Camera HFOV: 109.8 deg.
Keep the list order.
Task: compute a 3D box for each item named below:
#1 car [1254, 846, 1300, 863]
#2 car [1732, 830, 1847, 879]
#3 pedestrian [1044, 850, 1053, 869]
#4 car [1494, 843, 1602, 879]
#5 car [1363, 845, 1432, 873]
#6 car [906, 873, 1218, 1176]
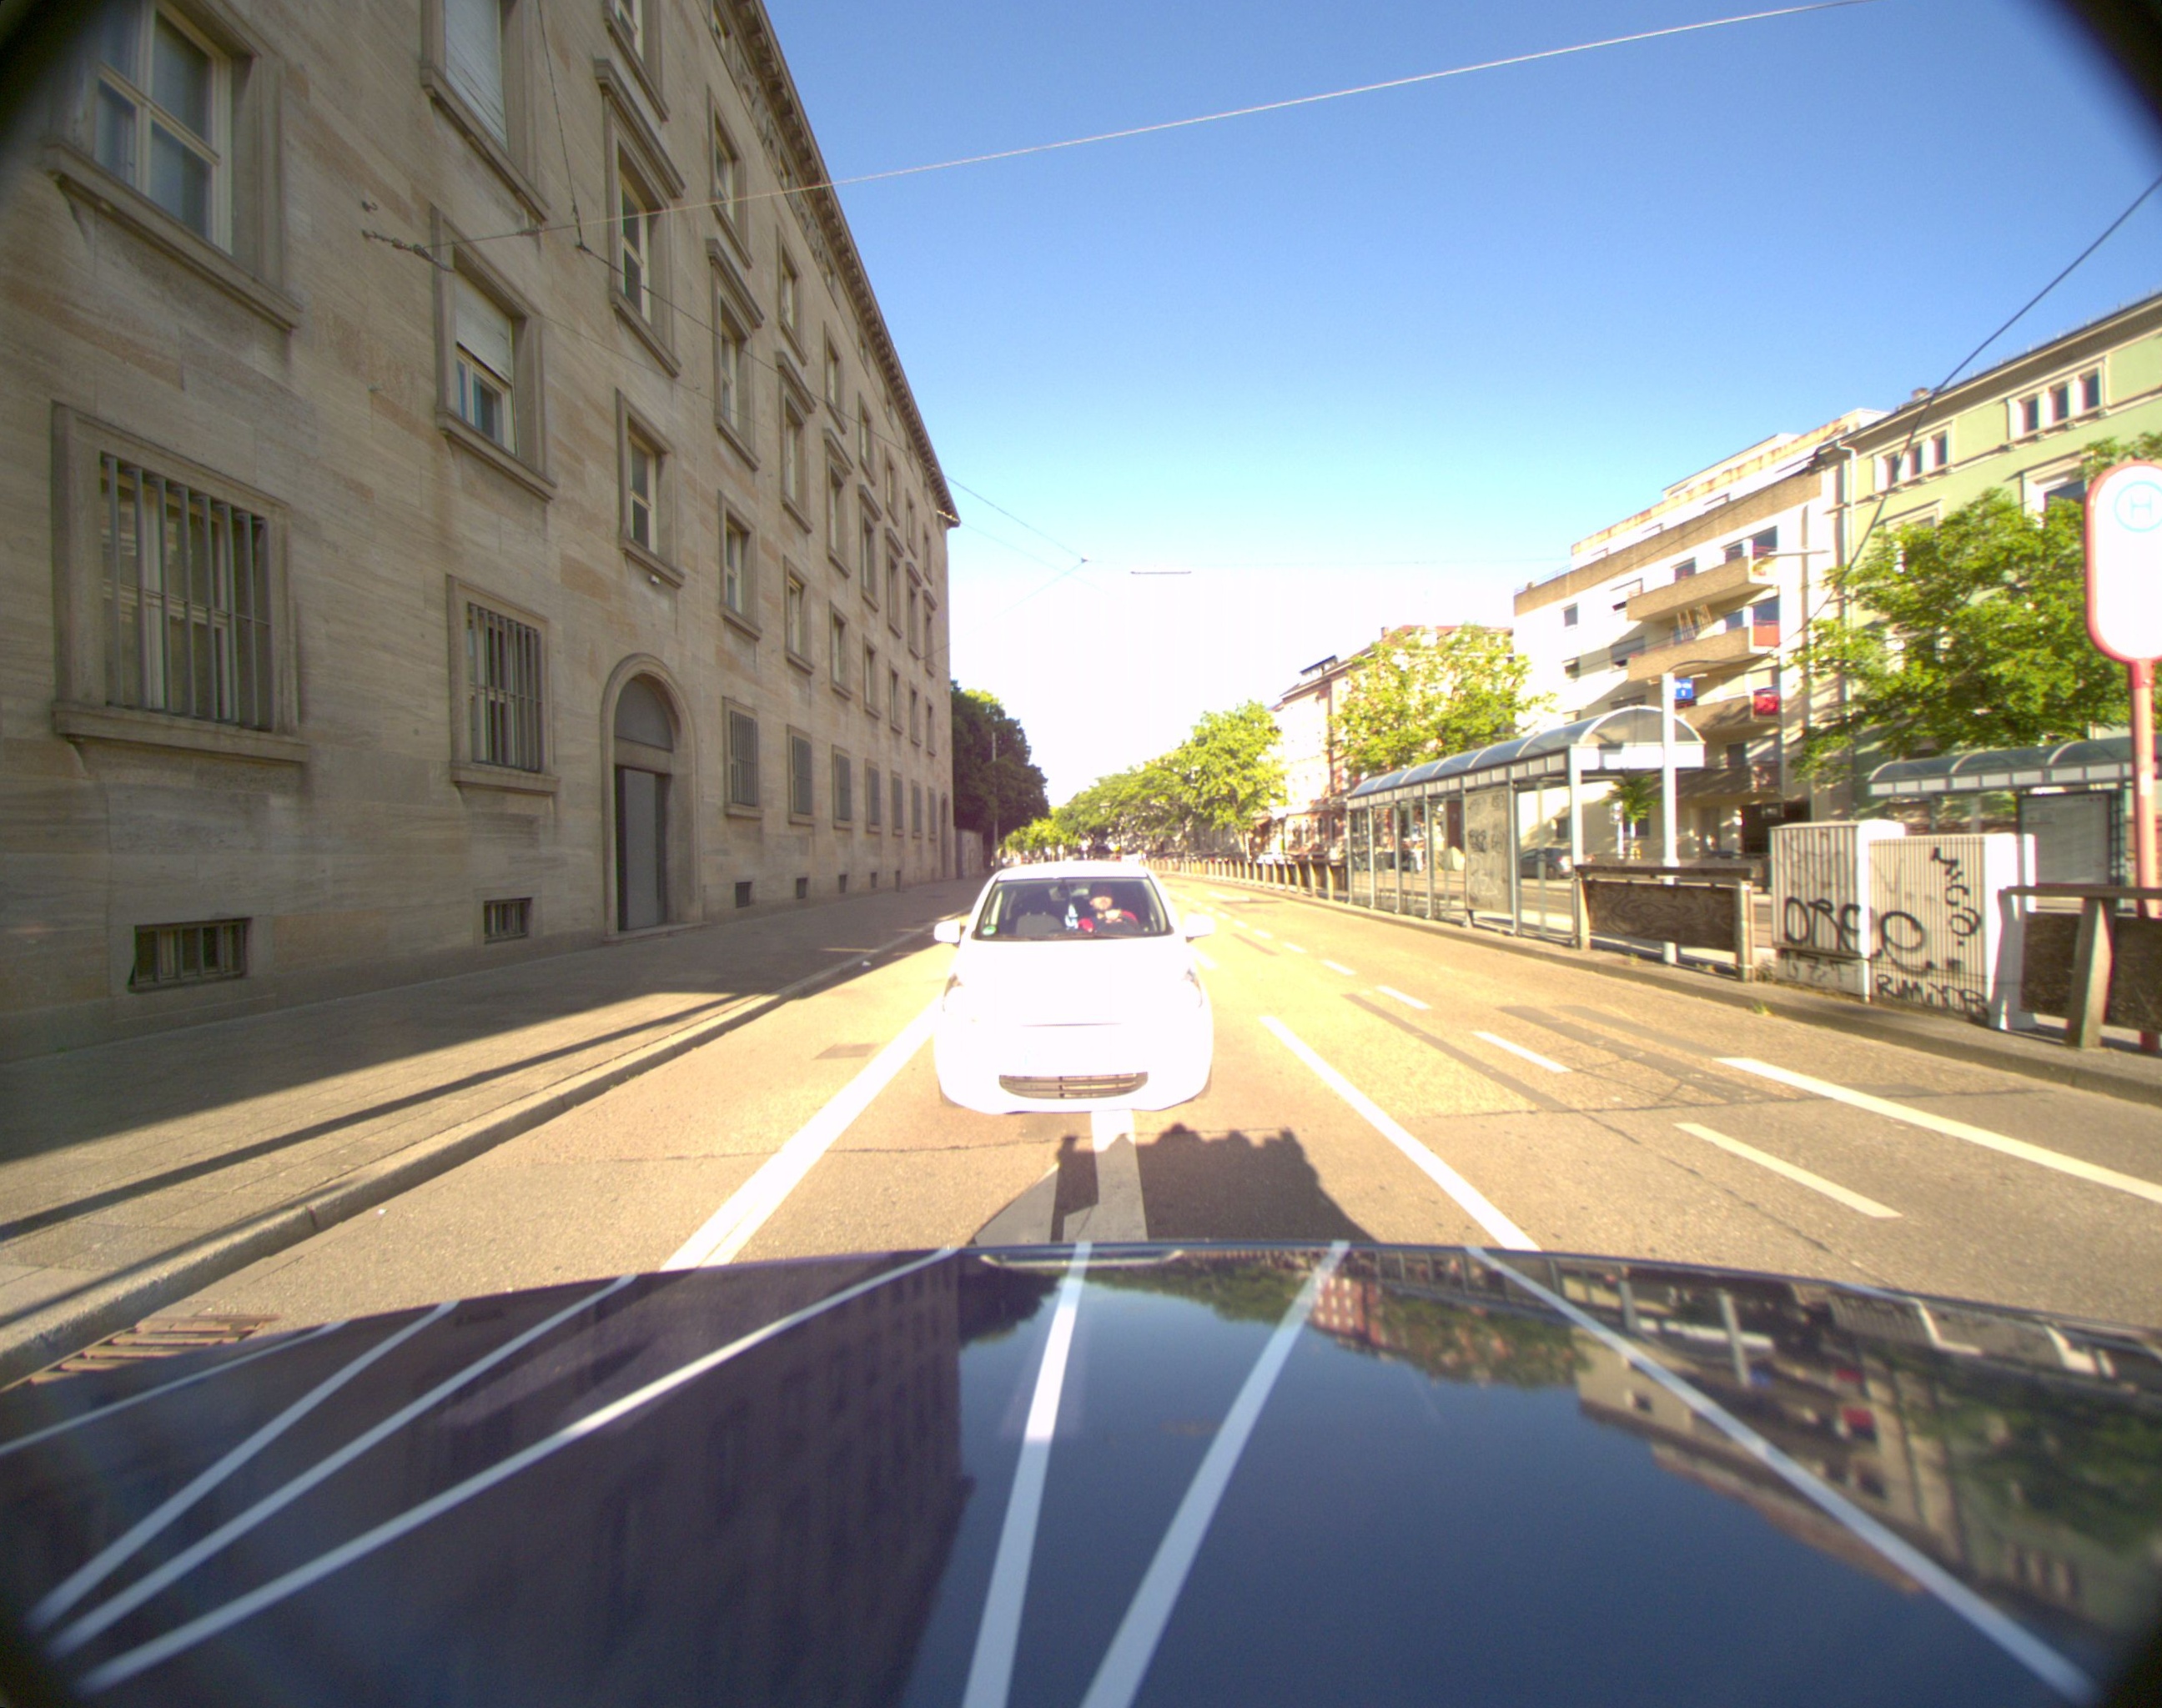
[{"bbox_3d":[16.322,0.016,63.290,3.648,1.342,1.578,-2,1,-29],"label":"car"},{"bbox_3d":[31.311,0.009,33.620,4.001,2.002,1.798,-1,1,-13],"label":"car"},{"bbox_3d":[-2.872,0.458,66.737,0.687,1.673,0.928,-1,1,-11],"label":"pedestrian"},{"bbox_3d":[20.773,0.302,33.986,2.000,1.521,3.997,0,0,-8],"label":"car"},{"bbox_3d":[18.390,0.288,44.347,2.000,1.521,3.997,-1,0,-8],"label":"car"},{"bbox_3d":[-0.074,0.948,5.812,1.606,1.455,3.621,-1,0,1],"label":"car"}]
